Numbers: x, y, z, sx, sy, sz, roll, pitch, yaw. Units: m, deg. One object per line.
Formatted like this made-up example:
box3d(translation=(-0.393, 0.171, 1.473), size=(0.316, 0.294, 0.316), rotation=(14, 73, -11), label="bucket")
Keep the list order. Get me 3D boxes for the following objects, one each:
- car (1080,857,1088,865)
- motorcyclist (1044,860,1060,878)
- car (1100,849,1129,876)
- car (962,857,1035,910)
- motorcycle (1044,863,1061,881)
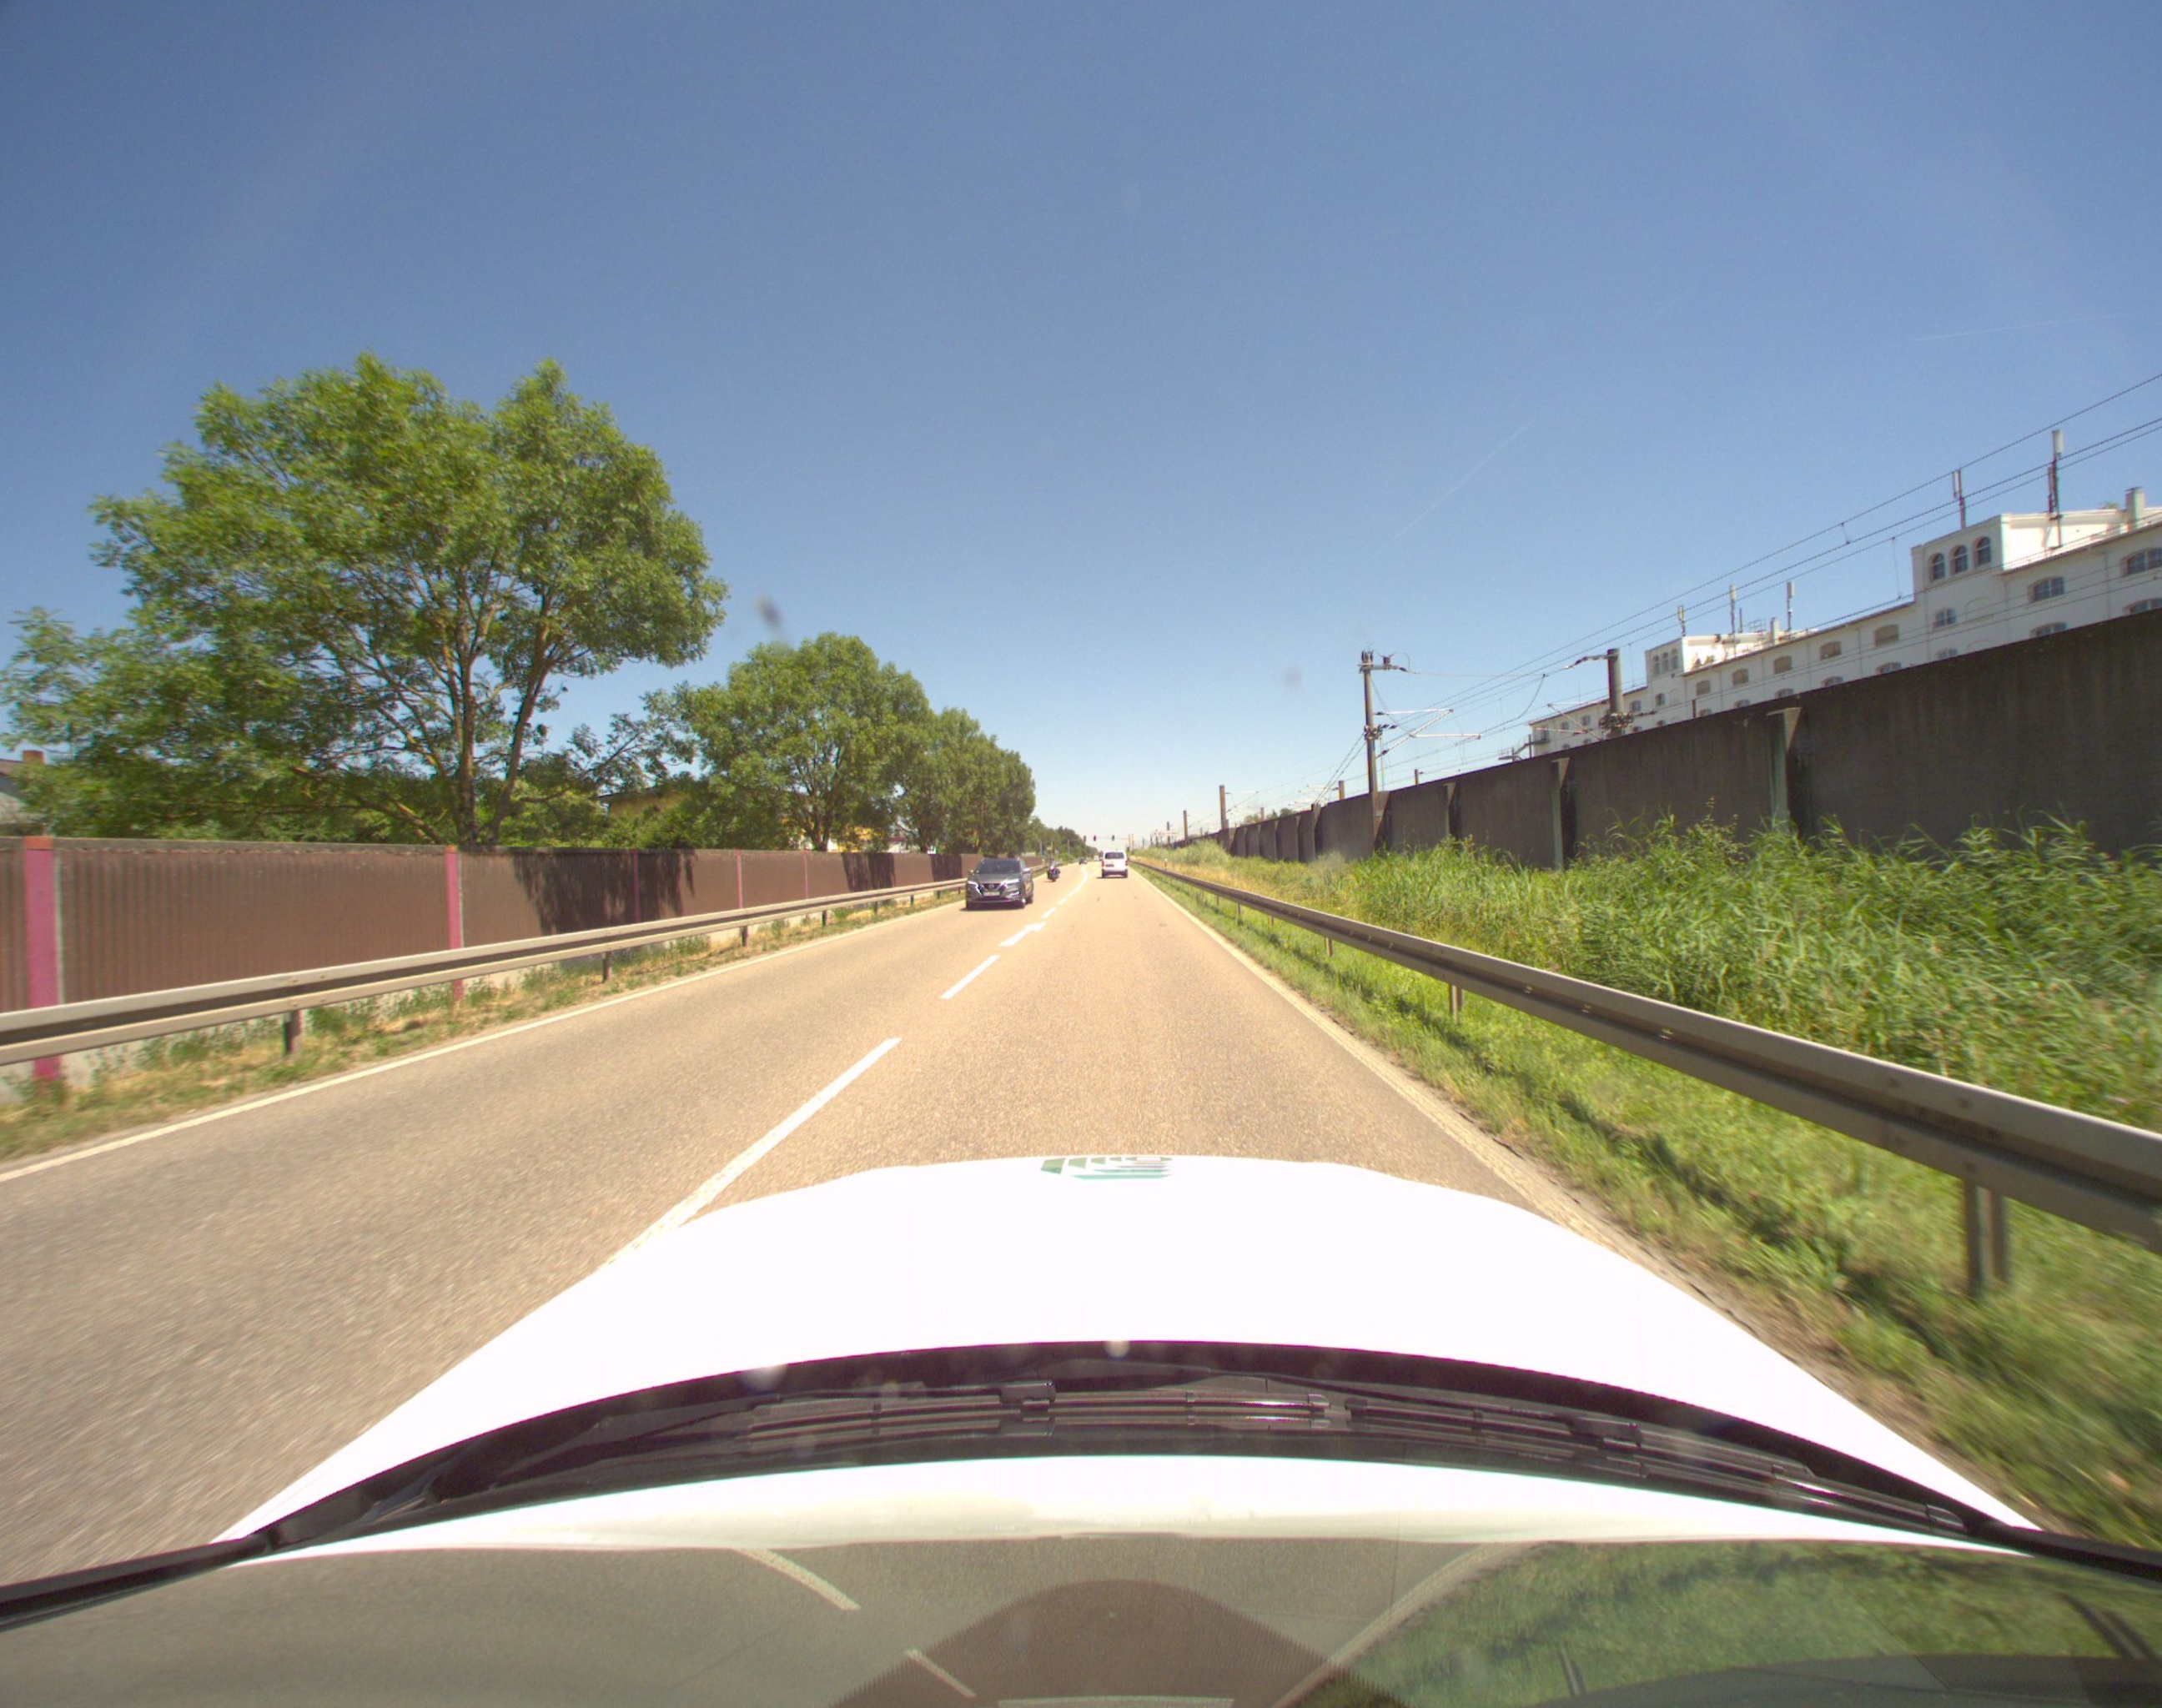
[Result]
box3d(translation=(0.624, 1.534, 180.350), size=(1.813, 1.596, 4.001), rotation=(0, 0, 1), label="car")
box3d(translation=(-1.846, 0.938, 52.176), size=(0.934, 1.130, 0.928), rotation=(1, 0, 1), label="motorcyclist")
box3d(translation=(2.395, 0.602, 58.608), size=(1.986, 1.850, 4.002), rotation=(0, 0, 2), label="car")
box3d(translation=(-2.578, 0.880, 26.446), size=(1.783, 1.525, 4.391), rotation=(-1, 0, 2), label="car")
box3d(translation=(-1.836, 1.150, 52.164), size=(0.950, 1.108, 2.336), rotation=(0, 0, 1), label="motorcycle")
